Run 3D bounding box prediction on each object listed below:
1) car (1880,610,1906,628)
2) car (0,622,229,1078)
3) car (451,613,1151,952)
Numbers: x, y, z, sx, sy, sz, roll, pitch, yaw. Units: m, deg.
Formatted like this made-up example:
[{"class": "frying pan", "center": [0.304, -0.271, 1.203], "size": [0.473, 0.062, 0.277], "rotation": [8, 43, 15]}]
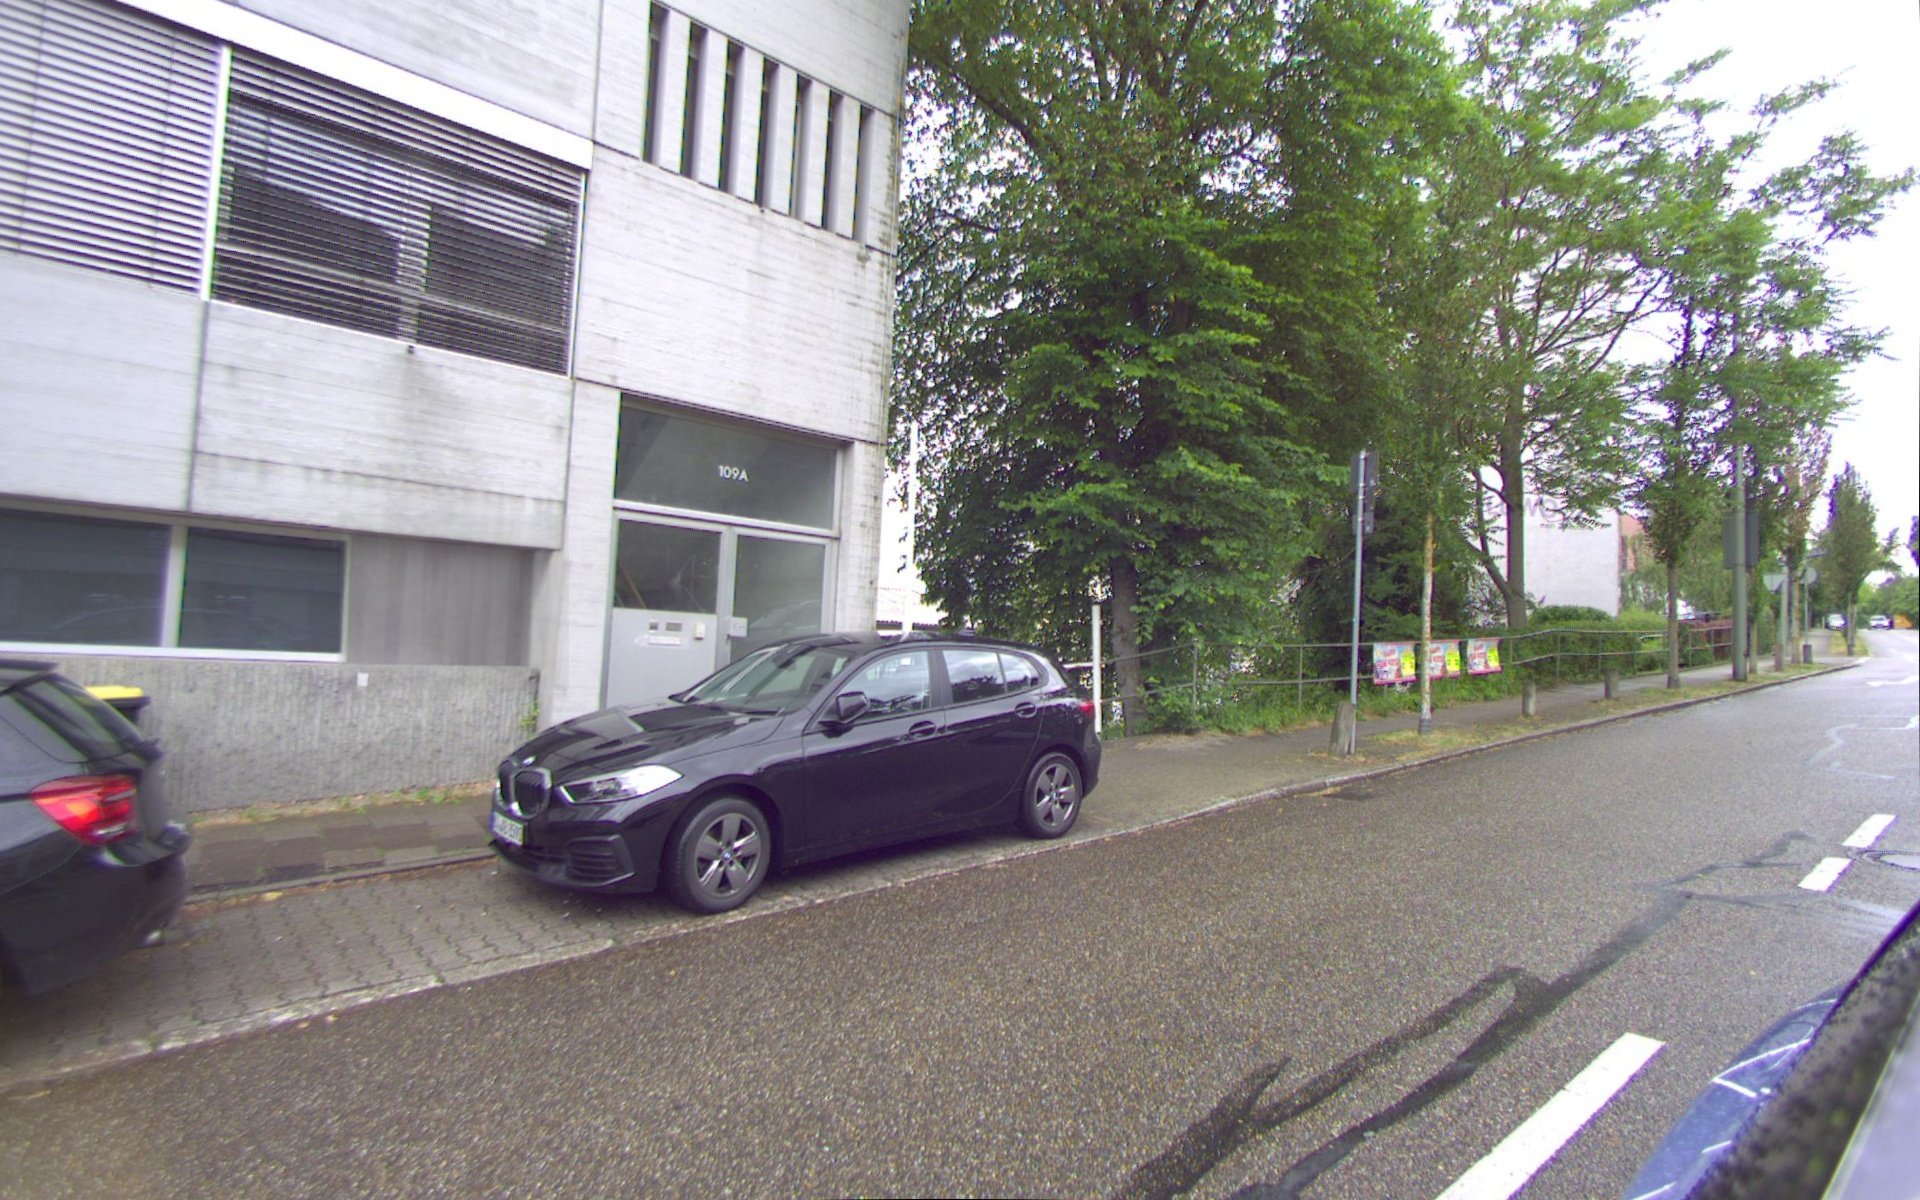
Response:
[{"class": "car", "center": [99.461, 1.975, 107.903], "size": [1.886, 1.741, 4.174], "rotation": [2, 2, 42]}, {"class": "car", "center": [-4.900, 0.853, 3.172], "size": [4.173, 1.466, 1.753], "rotation": [0, 0, -38]}, {"class": "car", "center": [-0.835, 0.880, 6.932], "size": [4.367, 1.453, 1.996], "rotation": [0, 2, -43]}]
